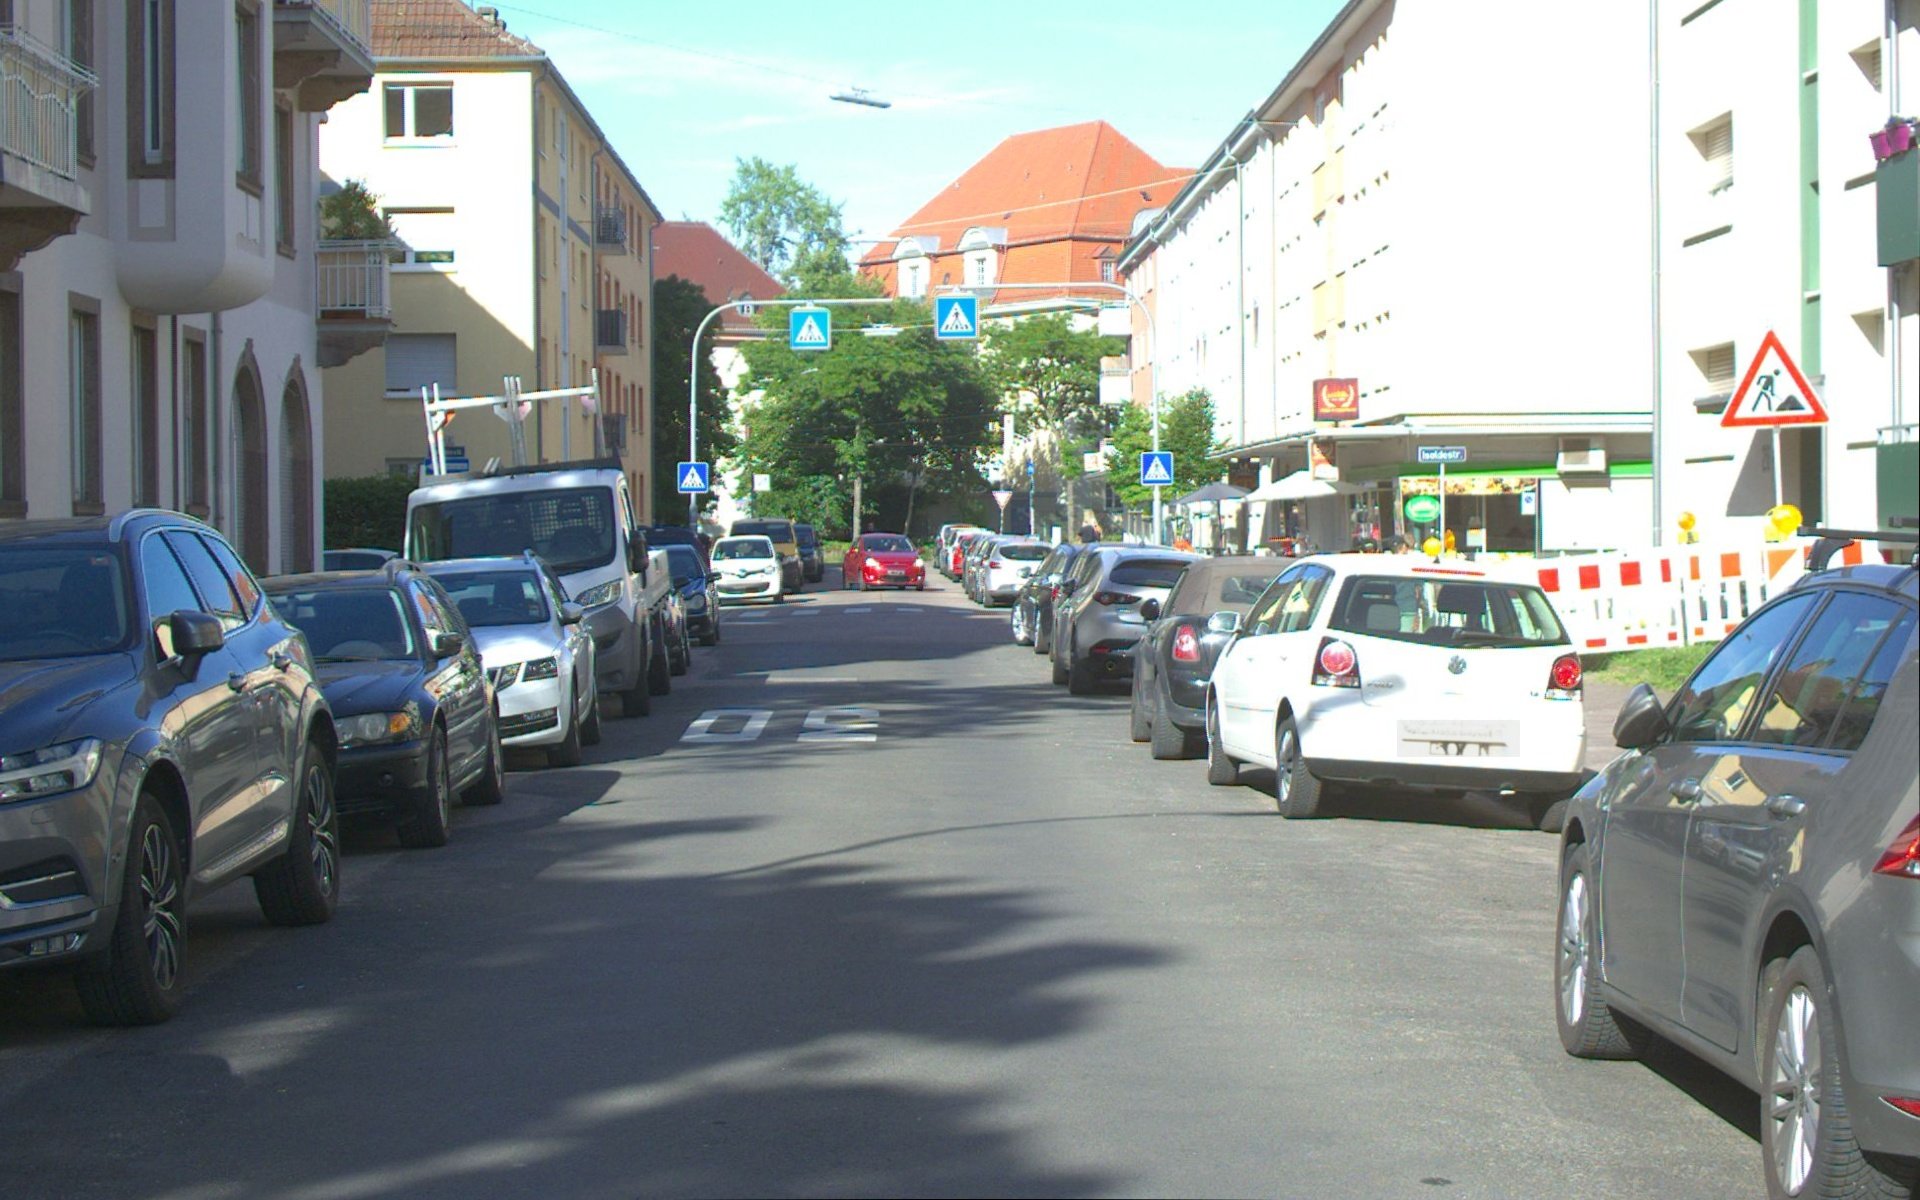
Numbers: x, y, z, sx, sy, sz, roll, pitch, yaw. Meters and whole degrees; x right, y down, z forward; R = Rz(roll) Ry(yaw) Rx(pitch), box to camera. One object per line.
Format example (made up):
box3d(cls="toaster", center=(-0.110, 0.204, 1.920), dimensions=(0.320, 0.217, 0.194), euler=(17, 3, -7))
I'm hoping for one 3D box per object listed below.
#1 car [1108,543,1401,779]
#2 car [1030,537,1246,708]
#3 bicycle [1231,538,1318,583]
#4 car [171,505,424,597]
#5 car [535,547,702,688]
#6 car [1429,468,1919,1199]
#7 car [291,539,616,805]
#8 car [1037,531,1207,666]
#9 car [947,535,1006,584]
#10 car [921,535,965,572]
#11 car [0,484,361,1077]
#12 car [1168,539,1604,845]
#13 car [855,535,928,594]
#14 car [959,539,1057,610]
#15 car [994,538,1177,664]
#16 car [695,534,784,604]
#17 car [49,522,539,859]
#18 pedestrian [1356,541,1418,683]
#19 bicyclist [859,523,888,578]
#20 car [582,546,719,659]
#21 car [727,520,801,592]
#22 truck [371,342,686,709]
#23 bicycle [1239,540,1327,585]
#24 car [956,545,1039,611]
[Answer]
box3d(cls="car", center=(2.041, 0.380, 24.762), dimensions=(1.688, 1.462, 3.583), euler=(3, 1, -1))
box3d(cls="car", center=(1.715, 0.195, 34.447), dimensions=(1.792, 1.466, 4.339), euler=(5, 0, -1))
box3d(cls="bicycle", center=(7.018, -0.883, 76.706), dimensions=(1.806, 0.964, 0.674), euler=(1, 1, -11))
box3d(cls="car", center=(-11.141, -0.822, 57.772), dimensions=(3.978, 1.474, 1.595), euler=(1, 1, -18))
box3d(cls="car", center=(-3.780, 0.172, 38.572), dimensions=(1.645, 1.411, 4.081), euler=(-3, 1, -3))
box3d(cls="car", center=(2.542, 0.592, 8.307), dimensions=(1.898, 1.616, 4.603), euler=(3, 1, -3))
box3d(cls="car", center=(-3.518, 0.427, 24.641), dimensions=(1.792, 1.535, 4.642), euler=(-5, 2, -3))
box3d(cls="car", center=(1.855, -0.025, 40.414), dimensions=(1.645, 1.455, 3.940), euler=(2, 0, -2))
box3d(cls="car", center=(0.486, -1.233, 104.482), dimensions=(1.637, 1.436, 3.419), euler=(1, 1, -2))
box3d(cls="car", center=(-0.688, -1.890, 139.025), dimensions=(1.637, 1.436, 3.419), euler=(1, 1, -2))
box3d(cls="car", center=(-3.455, 0.479, 12.080), dimensions=(1.878, 1.658, 4.932), euler=(-1, 1, -1))
box3d(cls="car", center=(2.389, 0.463, 20.211), dimensions=(1.685, 1.457, 3.820), euler=(6, 0, -4))
box3d(cls="car", center=(-1.726, -0.921, 87.757), dimensions=(1.697, 1.436, 3.419), euler=(1, 1, 1))
box3d(cls="car", center=(0.988, -0.558, 72.992), dimensions=(1.845, 1.436, 3.419), euler=(1, 1, -3))
box3d(cls="car", center=(1.591, -0.007, 45.300), dimensions=(1.853, 1.518, 4.778), euler=(2, 0, -4))
box3d(cls="car", center=(-4.934, -0.718, 77.389), dimensions=(1.791, 1.475, 4.099), euler=(0, 2, -1))
box3d(cls="car", center=(-3.455, 0.411, 18.657), dimensions=(1.792, 1.557, 4.459), euler=(2, 0, -1))
box3d(cls="pedestrian", center=(4.350, 0.114, 35.038), dimensions=(0.575, 1.428, 0.471), euler=(0, 1, 1))
box3d(cls="bicyclist", center=(-2.565, -1.485, 101.973), dimensions=(0.786, 1.615, 0.956), euler=(-1, 1, 3))
box3d(cls="car", center=(-4.257, 0.016, 47.815), dimensions=(1.703, 1.411, 4.375), euler=(-3, 1, -3))
box3d(cls="car", center=(-5.021, -1.147, 88.507), dimensions=(1.697, 1.773, 4.099), euler=(1, 1, -1))
box3d(cls="truck", center=(-3.820, -0.642, 31.779), dimensions=(2.259, 2.976, 7.277), euler=(1, 0, -2))
box3d(cls="bicycle", center=(7.155, -0.840, 76.079), dimensions=(1.806, 0.964, 0.674), euler=(1, 1, -11))
box3d(cls="car", center=(0.830, -0.513, 77.924), dimensions=(1.690, 1.436, 3.419), euler=(1, 1, -3))
